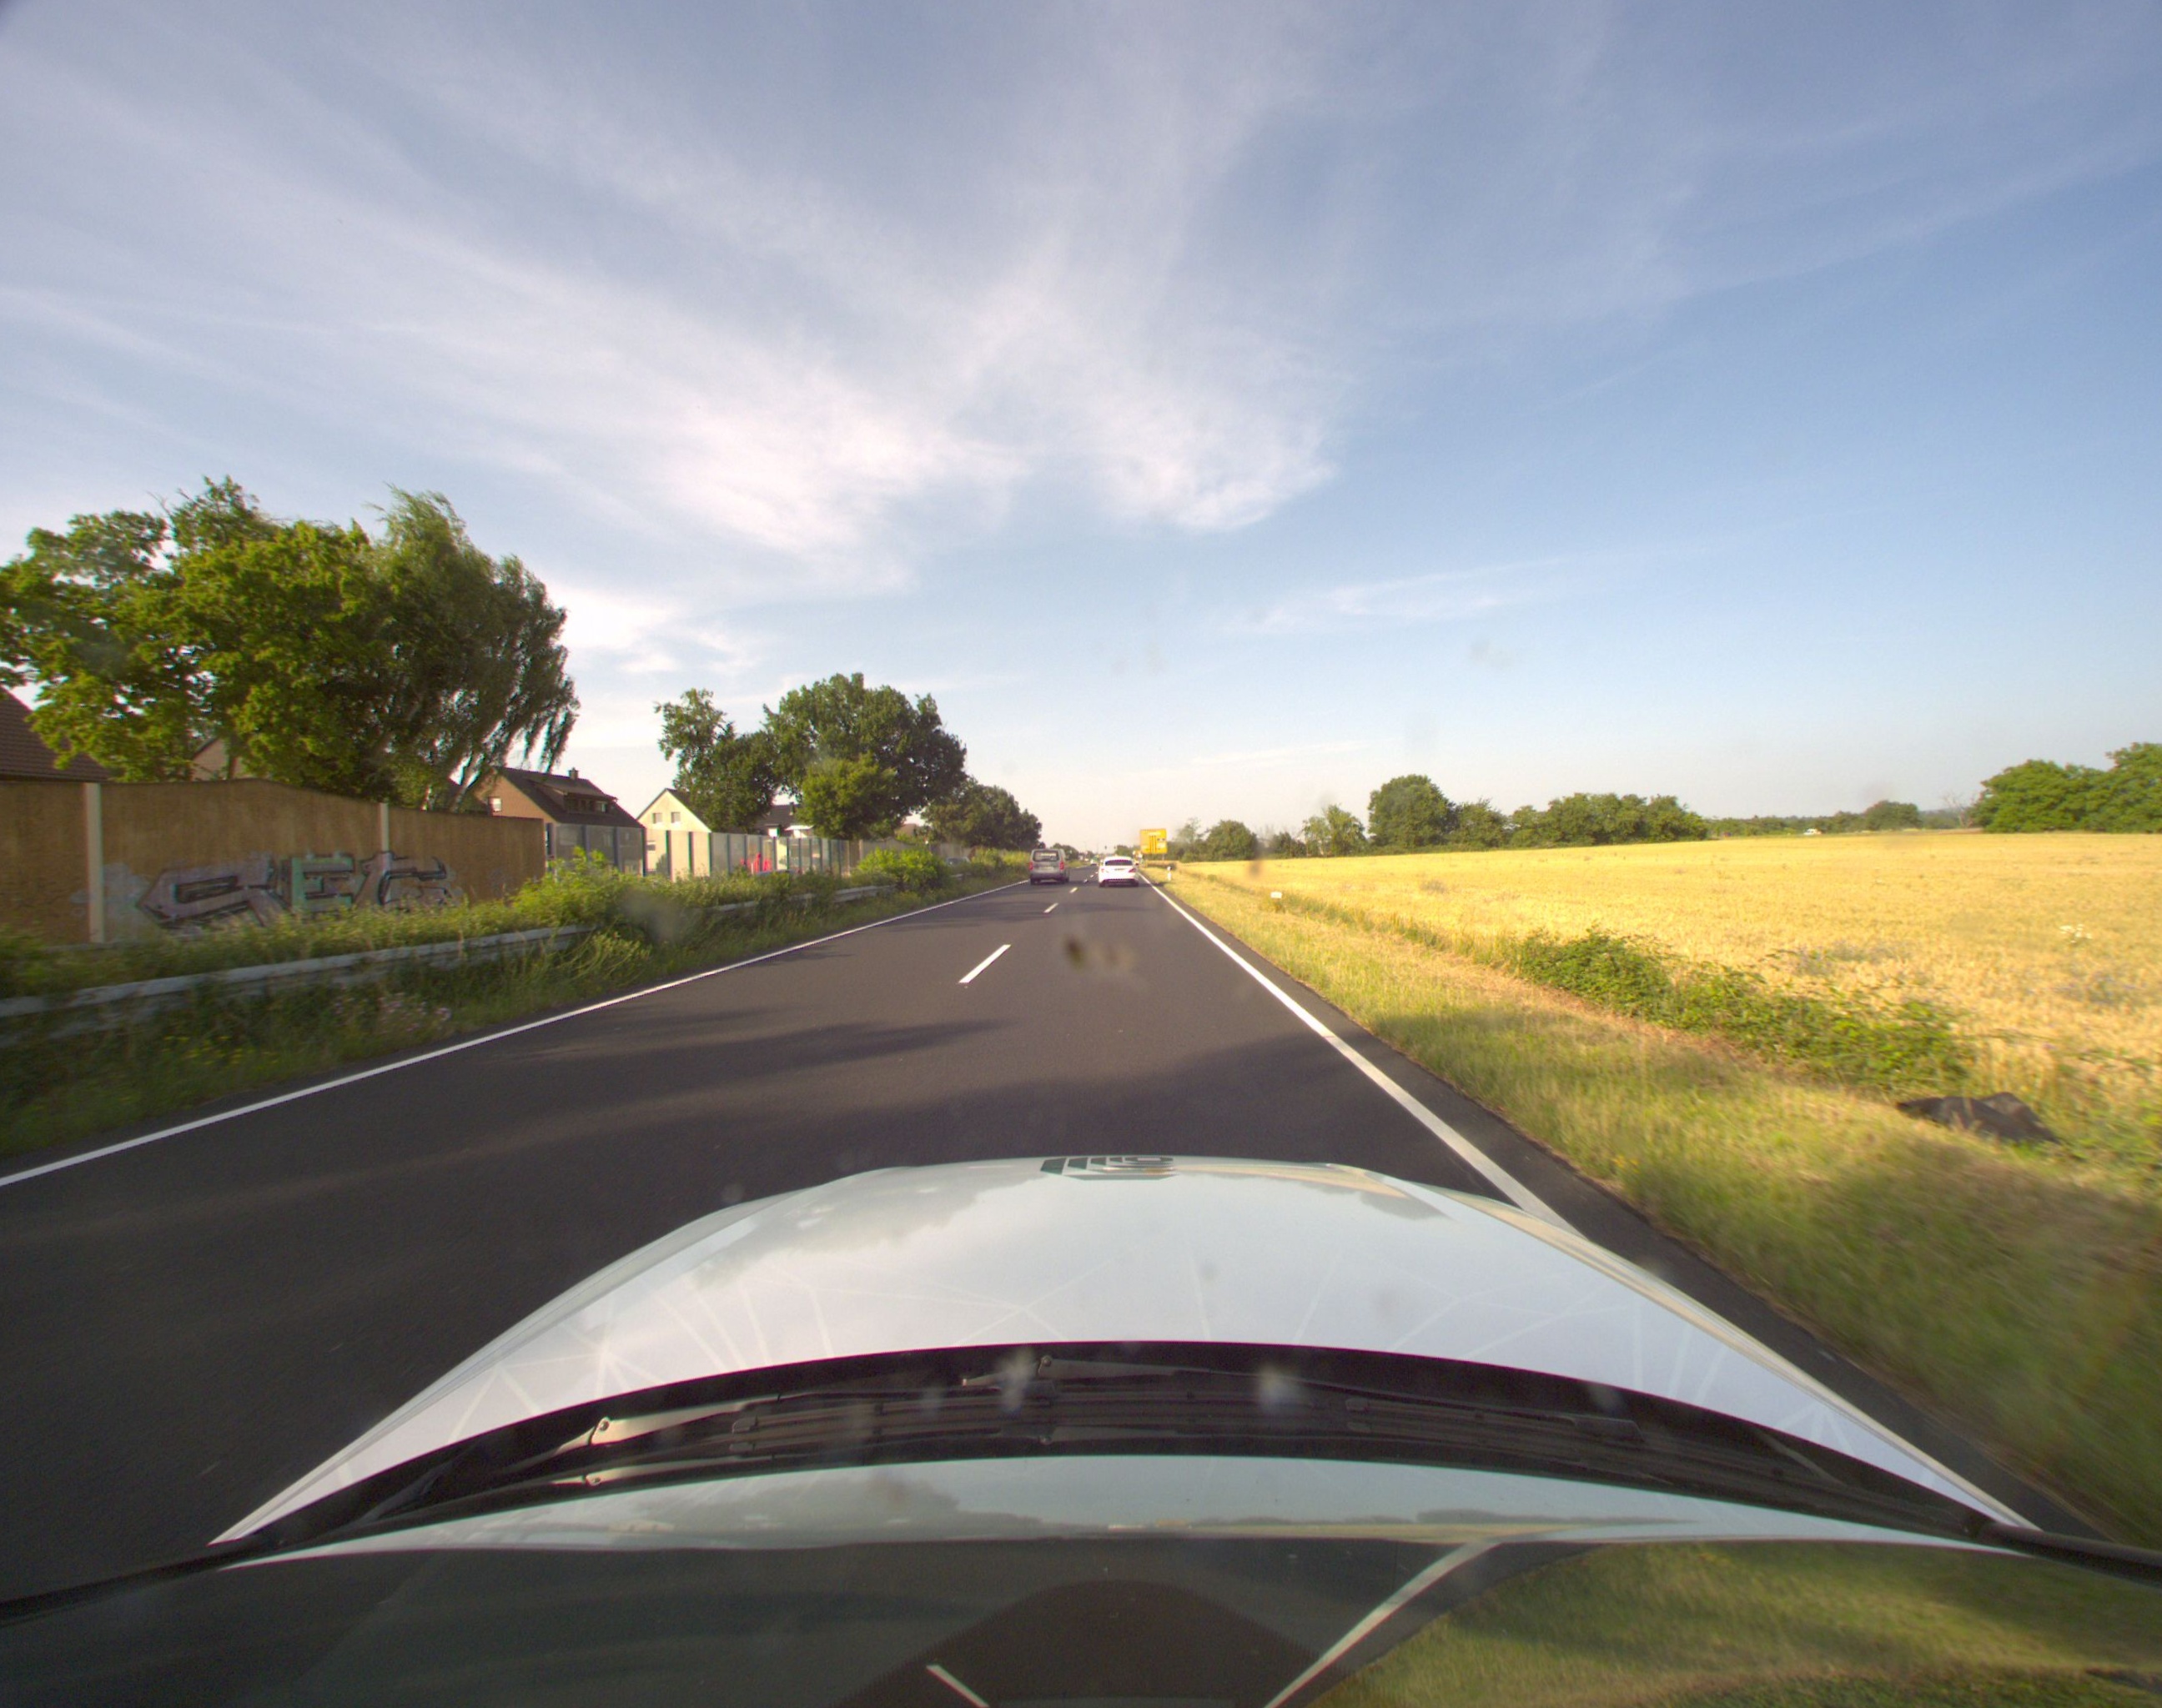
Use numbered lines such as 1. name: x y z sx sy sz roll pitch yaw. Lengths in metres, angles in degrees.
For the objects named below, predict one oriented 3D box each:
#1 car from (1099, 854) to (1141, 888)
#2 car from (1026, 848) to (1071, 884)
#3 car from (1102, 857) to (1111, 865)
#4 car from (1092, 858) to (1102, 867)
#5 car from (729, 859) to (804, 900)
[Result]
1. car: 1.844 0.805 39.078 1.887 1.509 4.002 -1 -1 2
2. car: -1.713 0.621 44.573 2.017 1.892 4.962 0 0 3
3. car: 5.289 1.474 169.349 1.871 1.651 3.664 0 -1 1
4. car: 2.779 1.414 140.581 1.710 1.492 3.587 0 -1 3
5. car: -13.358 1.040 34.784 1.800 1.662 3.337 0 -1 2
